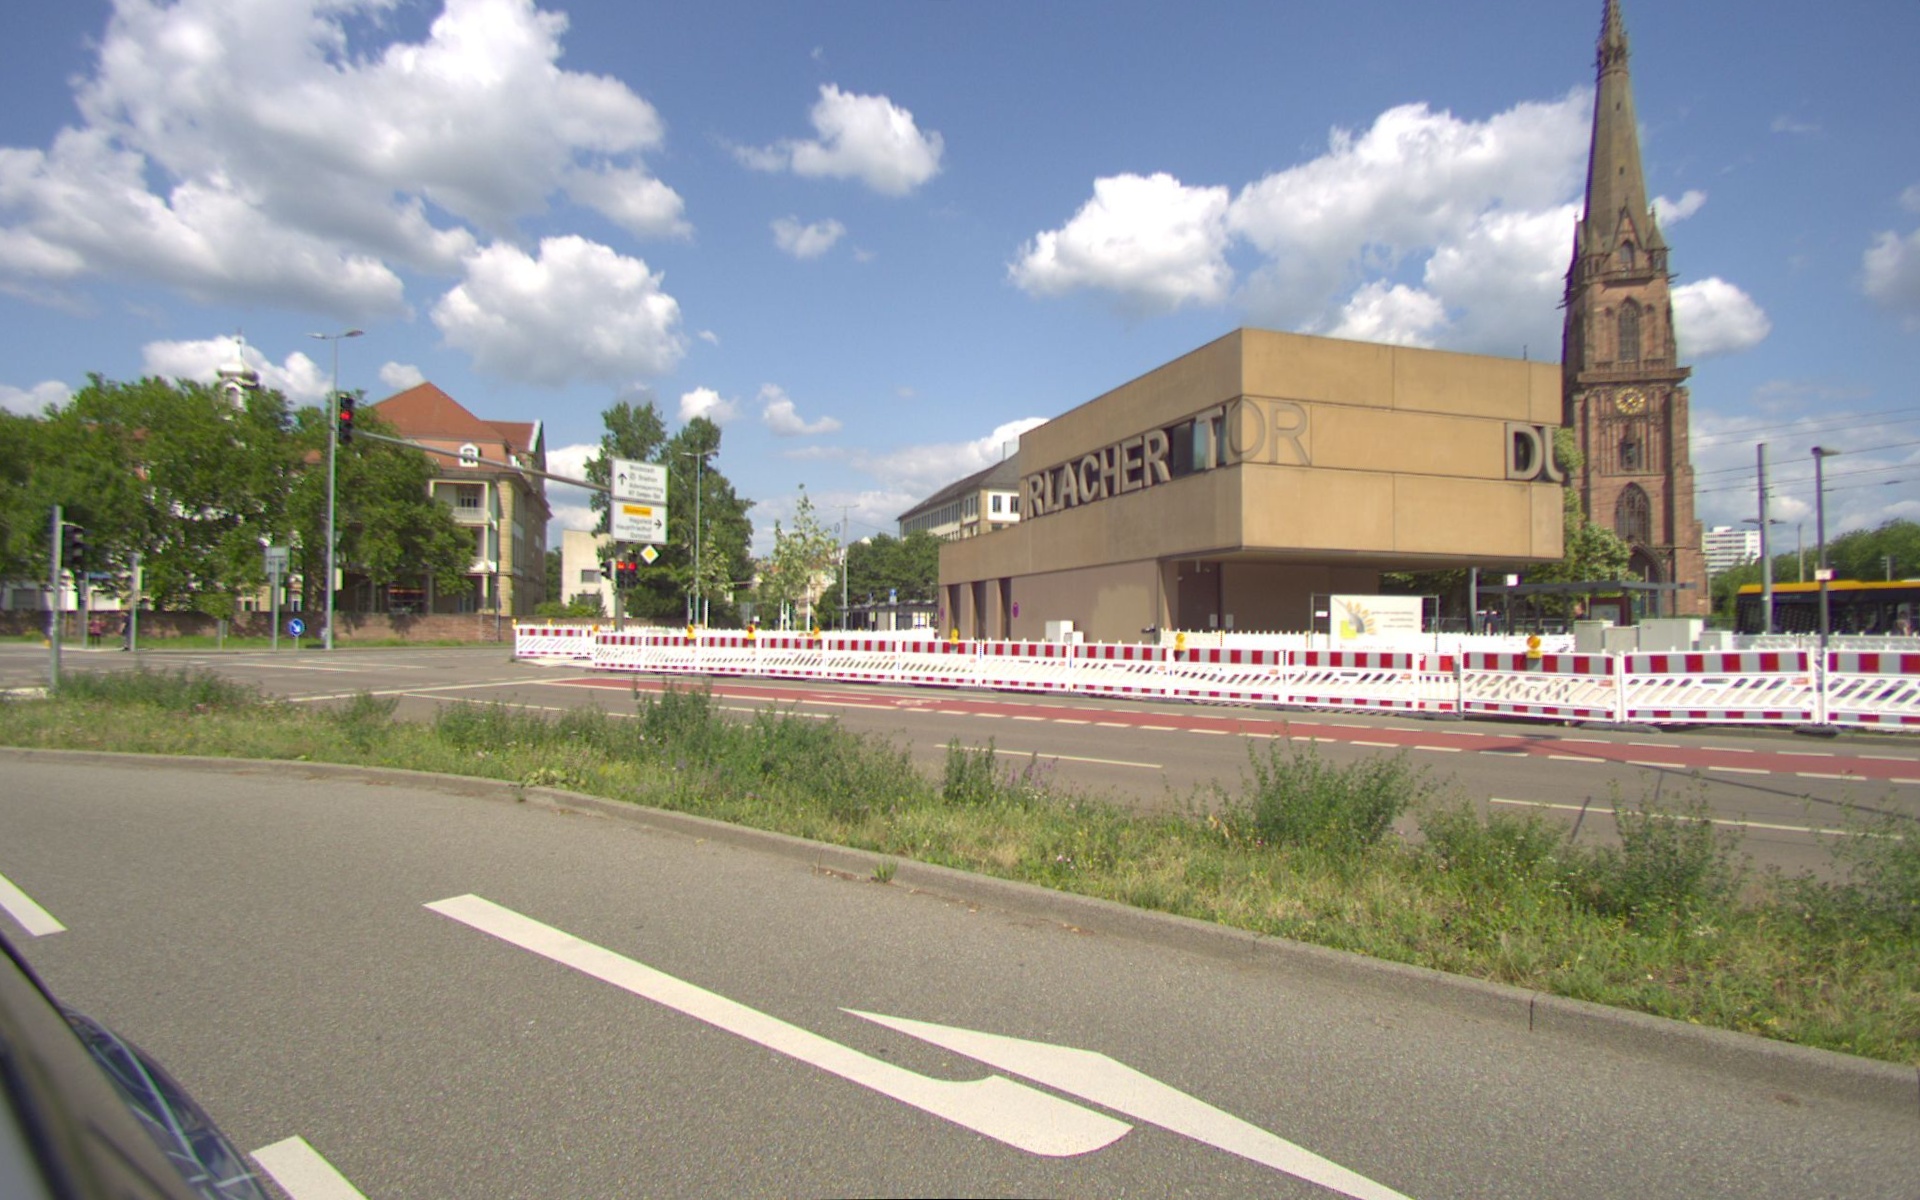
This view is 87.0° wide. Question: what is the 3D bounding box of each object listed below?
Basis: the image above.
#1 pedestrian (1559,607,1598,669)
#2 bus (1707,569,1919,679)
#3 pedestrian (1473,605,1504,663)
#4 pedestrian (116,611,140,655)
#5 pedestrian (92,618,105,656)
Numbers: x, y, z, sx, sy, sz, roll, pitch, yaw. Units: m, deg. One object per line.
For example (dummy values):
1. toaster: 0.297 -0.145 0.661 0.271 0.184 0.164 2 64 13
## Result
1. pedestrian: 16.395 1.001 26.833 0.720 1.642 0.561 1 -2 -27
2. bus: 29.234 0.695 29.321 2.785 3.160 12.880 1 -2 -18
3. pedestrian: 15.239 0.980 29.180 0.763 1.644 0.646 -1 -2 30
4. pedestrian: -38.401 1.507 46.697 0.616 2.009 0.579 -1 0 13
5. pedestrian: -40.093 1.721 47.108 0.363 1.745 0.452 -1 0 -28
